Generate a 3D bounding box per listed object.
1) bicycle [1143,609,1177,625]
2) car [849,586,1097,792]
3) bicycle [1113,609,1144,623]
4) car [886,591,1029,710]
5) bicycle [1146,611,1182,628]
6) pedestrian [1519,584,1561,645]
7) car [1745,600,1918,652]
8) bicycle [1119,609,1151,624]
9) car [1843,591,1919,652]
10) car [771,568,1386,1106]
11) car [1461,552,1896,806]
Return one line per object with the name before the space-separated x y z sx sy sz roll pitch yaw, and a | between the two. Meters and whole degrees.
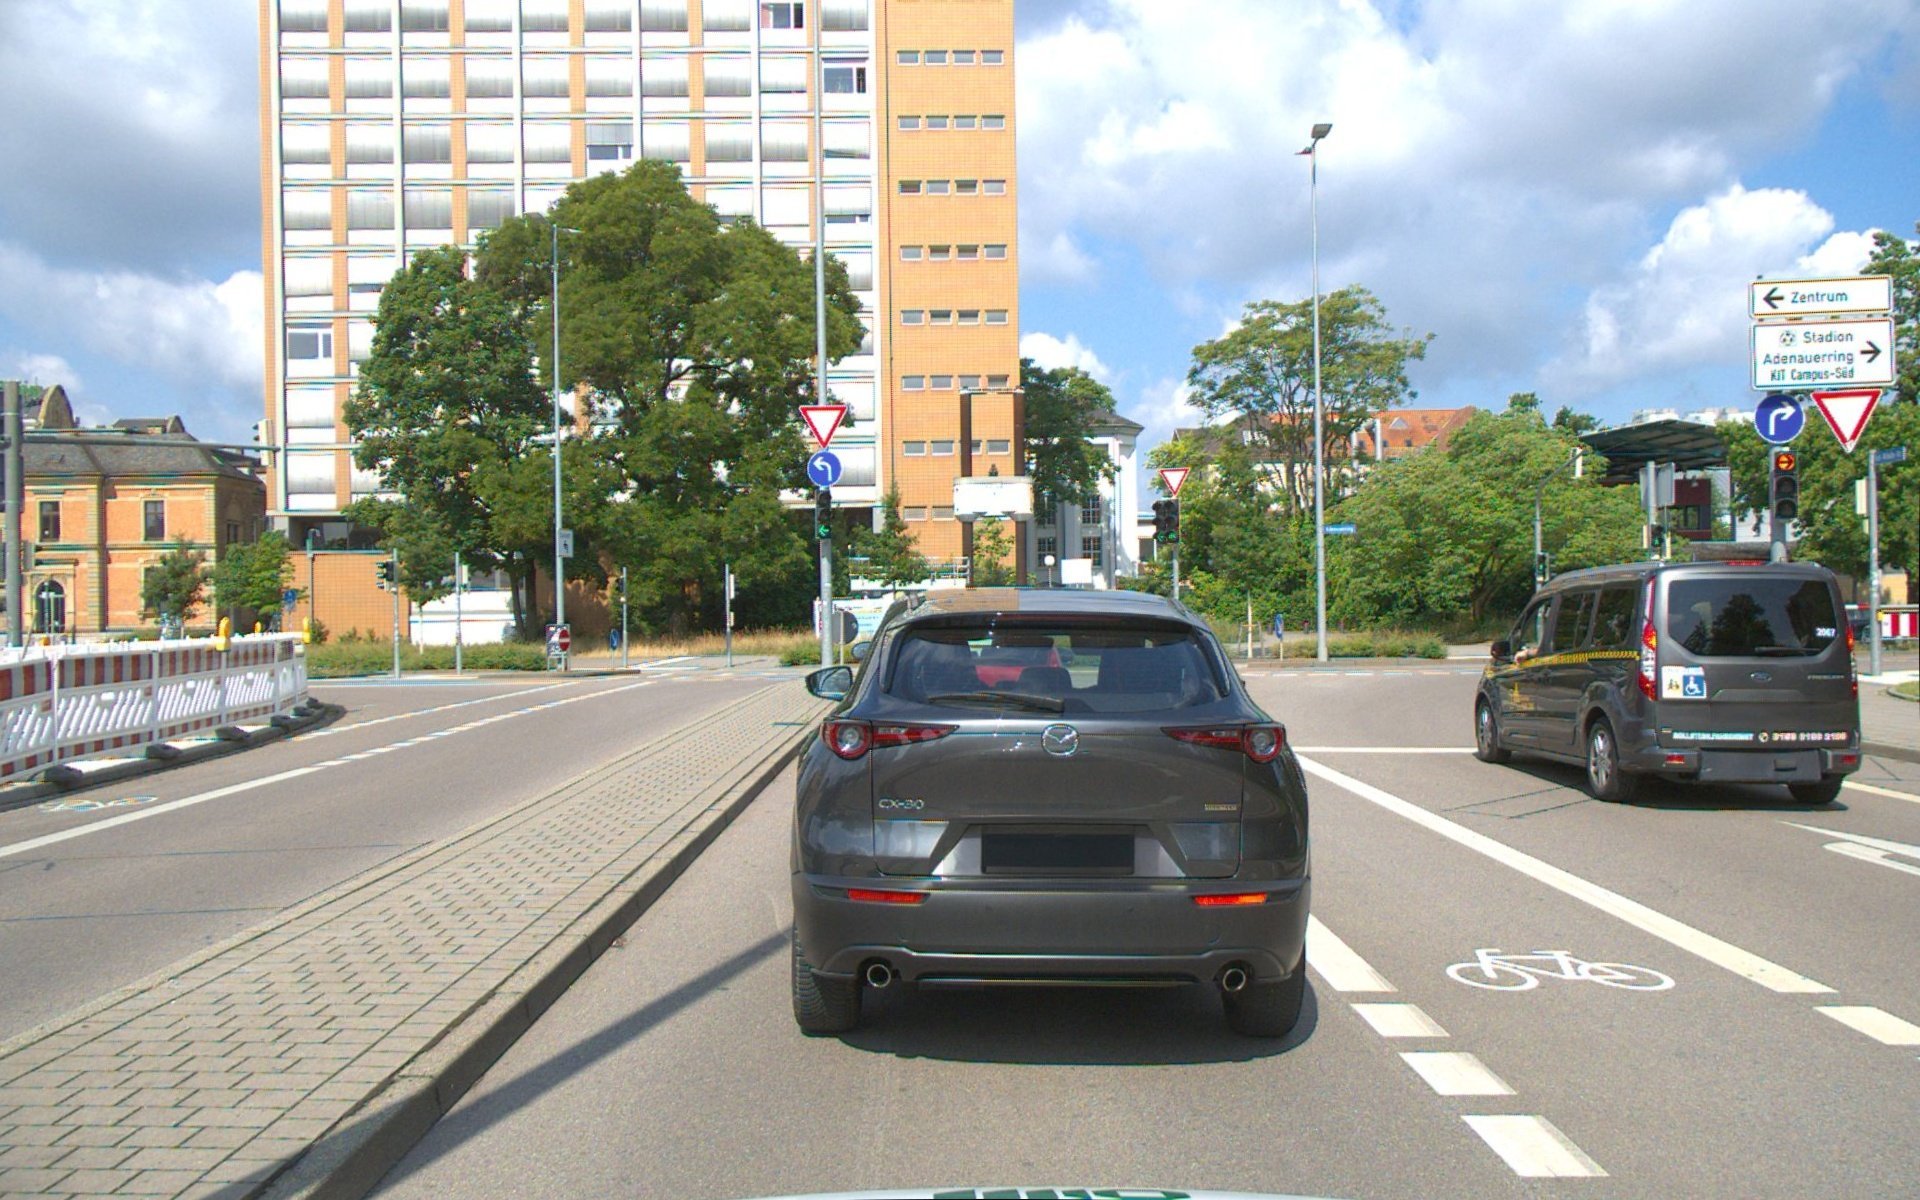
bicycle | 12.402 1.066 102.525 2.013 0.953 0.804 -1 -1 -2
car | 0.140 0.668 14.045 1.779 1.465 4.068 1 -1 1
bicycle | 11.770 1.111 115.569 2.013 0.953 0.804 -1 -1 -2
car | -0.018 0.665 23.611 1.810 1.498 4.335 -1 0 0
bicycle | 12.126 1.142 98.521 2.013 0.953 0.804 -1 -1 -2
pedestrian | 18.307 0.468 52.224 0.684 1.889 1.177 -2 0 -11
car | 25.706 0.754 48.894 4.061 1.401 2.000 -1 0 1
bicycle | 11.725 1.091 110.709 2.013 0.953 0.804 -1 -1 -2
car | 25.181 0.509 41.710 4.664 1.467 2.063 -1 -3 4
car | 0.322 0.699 6.948 1.769 1.534 4.204 1 0 -1
car | 5.853 0.563 14.194 1.810 1.816 4.672 0 0 1
